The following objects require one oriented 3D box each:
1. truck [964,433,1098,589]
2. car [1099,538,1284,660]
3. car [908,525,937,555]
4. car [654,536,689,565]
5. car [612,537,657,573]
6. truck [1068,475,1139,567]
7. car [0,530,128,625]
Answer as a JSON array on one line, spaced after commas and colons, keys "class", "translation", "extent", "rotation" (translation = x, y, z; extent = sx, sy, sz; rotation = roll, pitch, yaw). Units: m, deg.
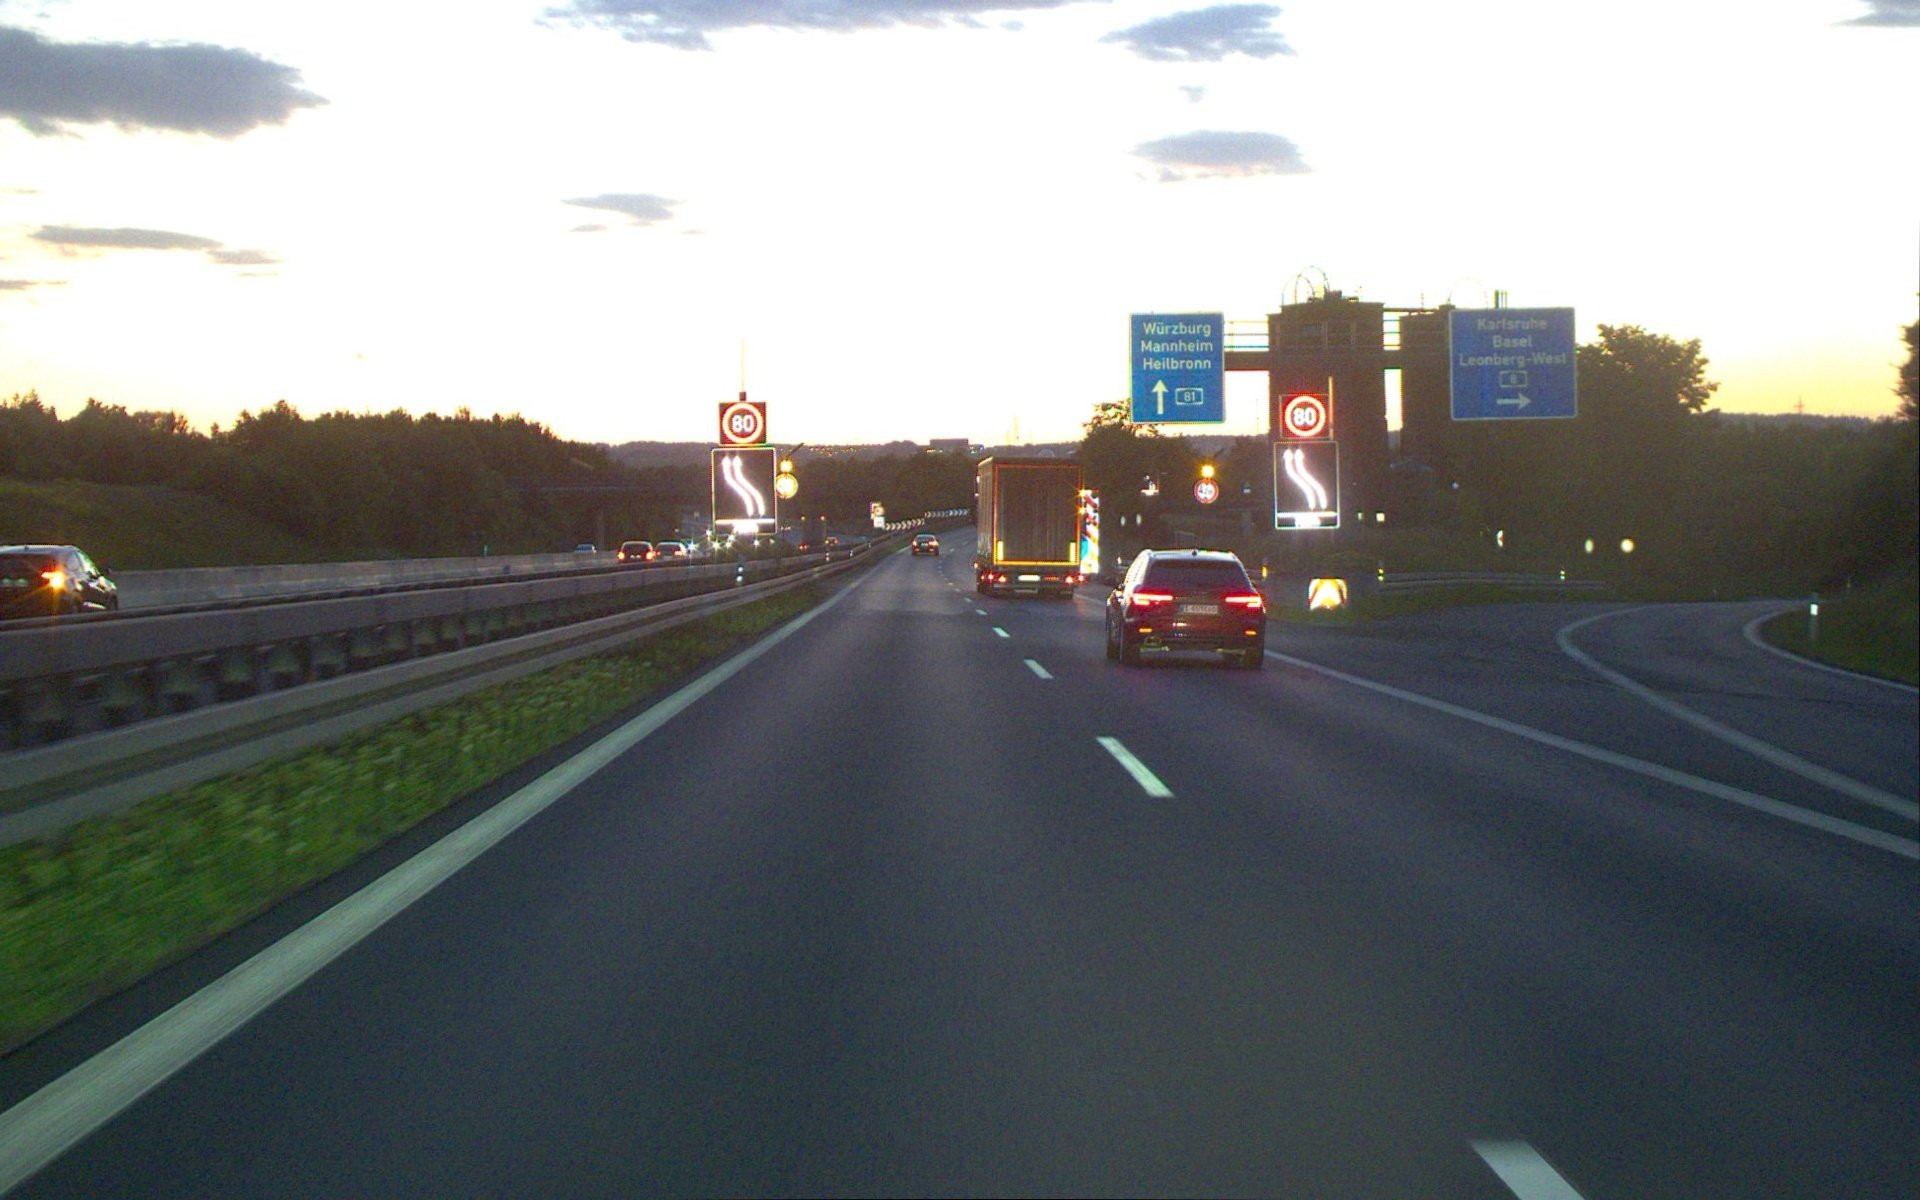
[{"class": "truck", "translation": [2.001, -2.570, 101.474], "extent": [3.509, 4.286, 9.892], "rotation": [-1, 1, -1]}, {"class": "car", "translation": [2.886, -0.041, 43.665], "extent": [1.915, 1.437, 4.000], "rotation": [-1, 1, -2]}, {"class": "car", "translation": [-2.687, -4.261, 244.528], "extent": [1.993, 2.007, 4.000], "rotation": [-1, 1, -1]}, {"class": "car", "translation": [-15.569, -2.677, 185.650], "extent": [1.638, 1.541, 3.395], "rotation": [-1, 1, 0]}, {"class": "car", "translation": [-14.749, -2.048, 155.871], "extent": [1.713, 1.600, 3.722], "rotation": [-1, 1, -1]}, {"class": "truck", "translation": [6.409, -3.524, 153.885], "extent": [2.787, 4.045, 6.412], "rotation": [0, 1, -1]}, {"class": "car", "translation": [-15.939, -0.403, 59.812], "extent": [1.872, 1.556, 4.520], "rotation": [-1, 1, -1]}]
